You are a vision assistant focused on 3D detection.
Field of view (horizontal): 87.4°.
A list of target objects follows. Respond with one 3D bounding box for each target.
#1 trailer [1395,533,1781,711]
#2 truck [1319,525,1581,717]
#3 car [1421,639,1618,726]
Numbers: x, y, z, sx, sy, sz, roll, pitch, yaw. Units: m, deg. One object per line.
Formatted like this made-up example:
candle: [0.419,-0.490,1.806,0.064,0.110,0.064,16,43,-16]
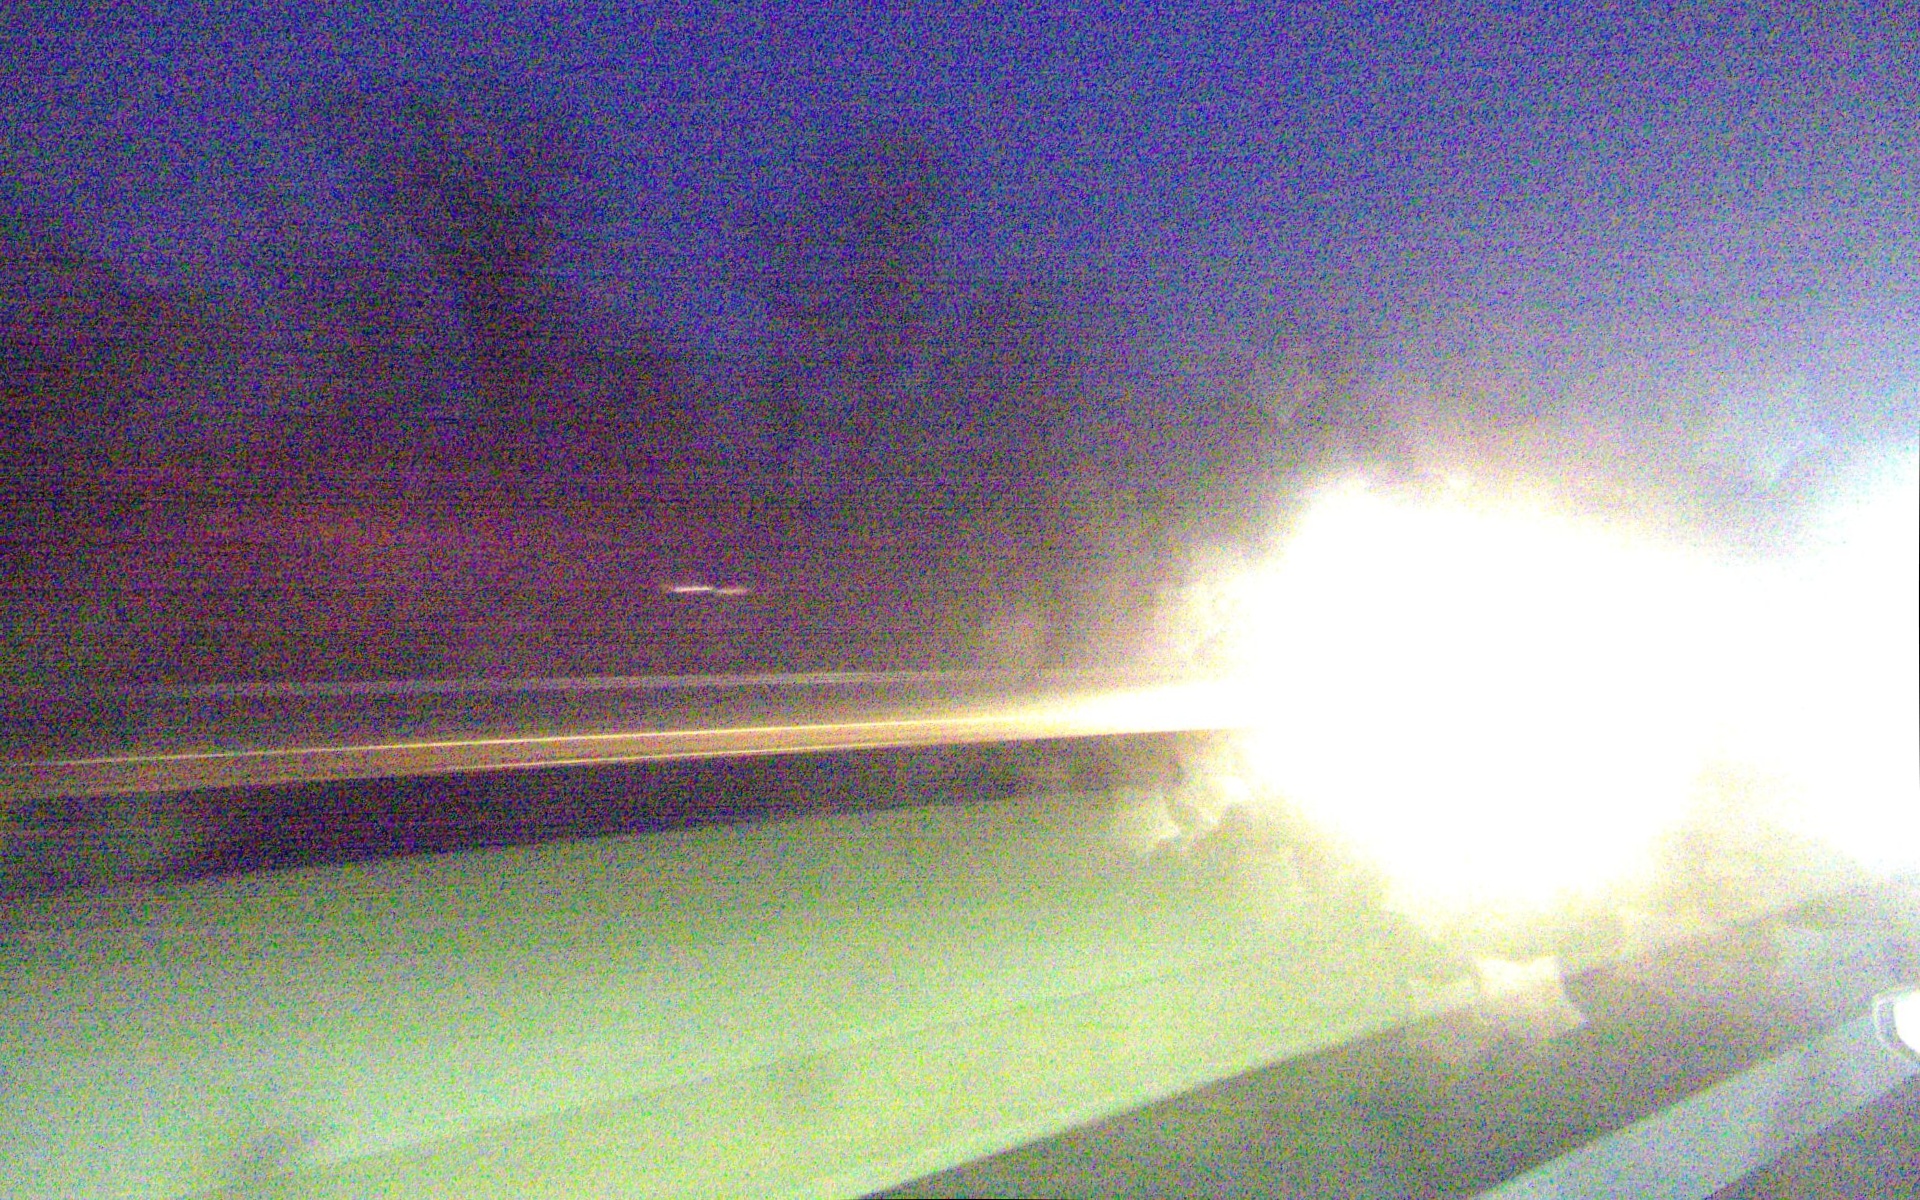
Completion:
trailer: [19.142,0.549,29.793,15.532,4.362,2.872,0,0,-31]
truck: [12.716,0.487,25.942,6.666,4.393,2.872,0,0,-30]
car: [11.634,1.629,20.820,4.299,1.618,1.669,1,-2,-32]
